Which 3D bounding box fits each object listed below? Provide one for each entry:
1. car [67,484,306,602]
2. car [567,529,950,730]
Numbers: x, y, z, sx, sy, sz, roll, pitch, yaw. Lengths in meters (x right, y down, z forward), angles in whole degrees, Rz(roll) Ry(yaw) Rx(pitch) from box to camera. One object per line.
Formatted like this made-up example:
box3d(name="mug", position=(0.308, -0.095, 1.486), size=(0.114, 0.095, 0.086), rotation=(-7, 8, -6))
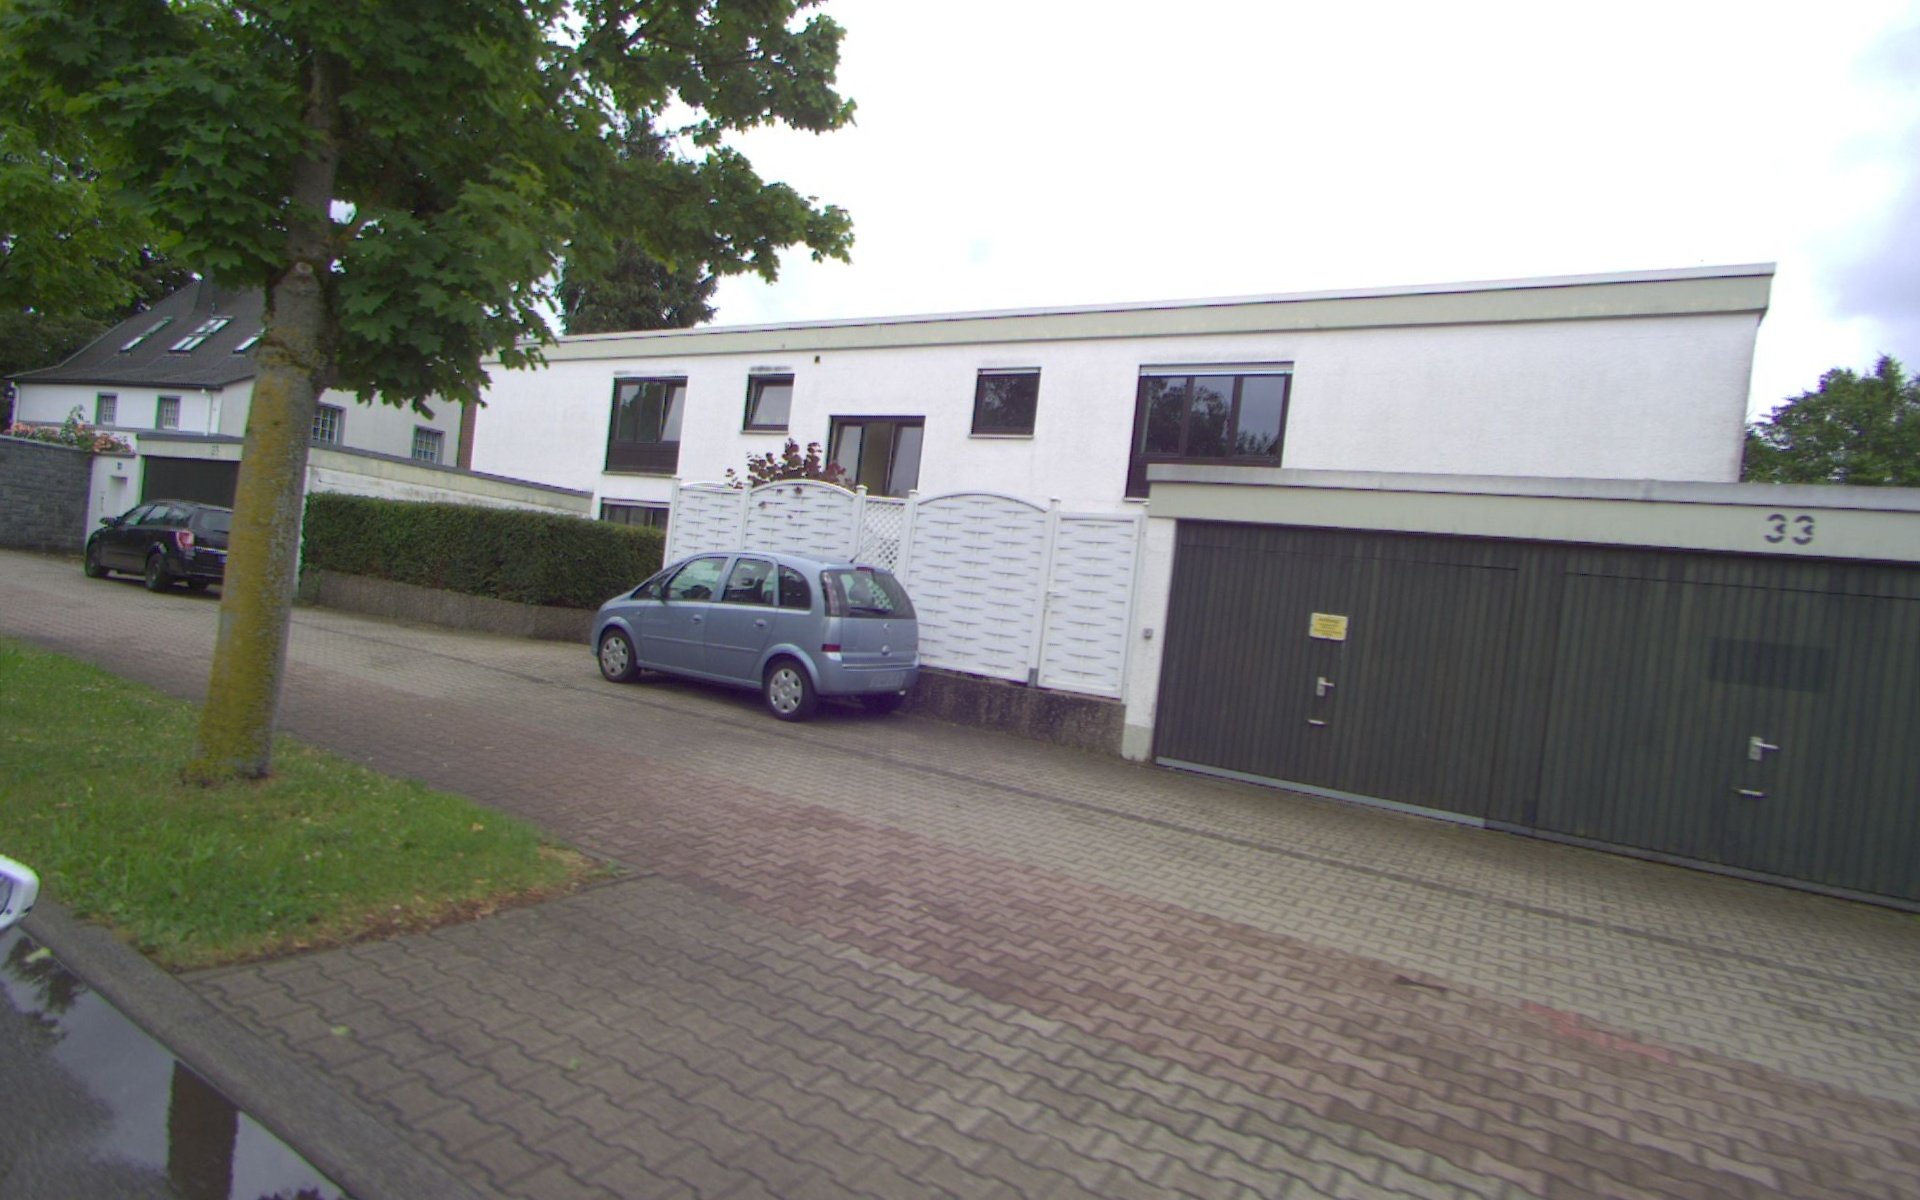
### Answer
box3d(name="car", position=(-13.171, -0.999, 17.058), size=(4.470, 1.517, 1.772), rotation=(7, 1, 33))
box3d(name="car", position=(-2.293, 0.249, 11.100), size=(3.935, 1.631, 1.744), rotation=(7, 1, 33))
